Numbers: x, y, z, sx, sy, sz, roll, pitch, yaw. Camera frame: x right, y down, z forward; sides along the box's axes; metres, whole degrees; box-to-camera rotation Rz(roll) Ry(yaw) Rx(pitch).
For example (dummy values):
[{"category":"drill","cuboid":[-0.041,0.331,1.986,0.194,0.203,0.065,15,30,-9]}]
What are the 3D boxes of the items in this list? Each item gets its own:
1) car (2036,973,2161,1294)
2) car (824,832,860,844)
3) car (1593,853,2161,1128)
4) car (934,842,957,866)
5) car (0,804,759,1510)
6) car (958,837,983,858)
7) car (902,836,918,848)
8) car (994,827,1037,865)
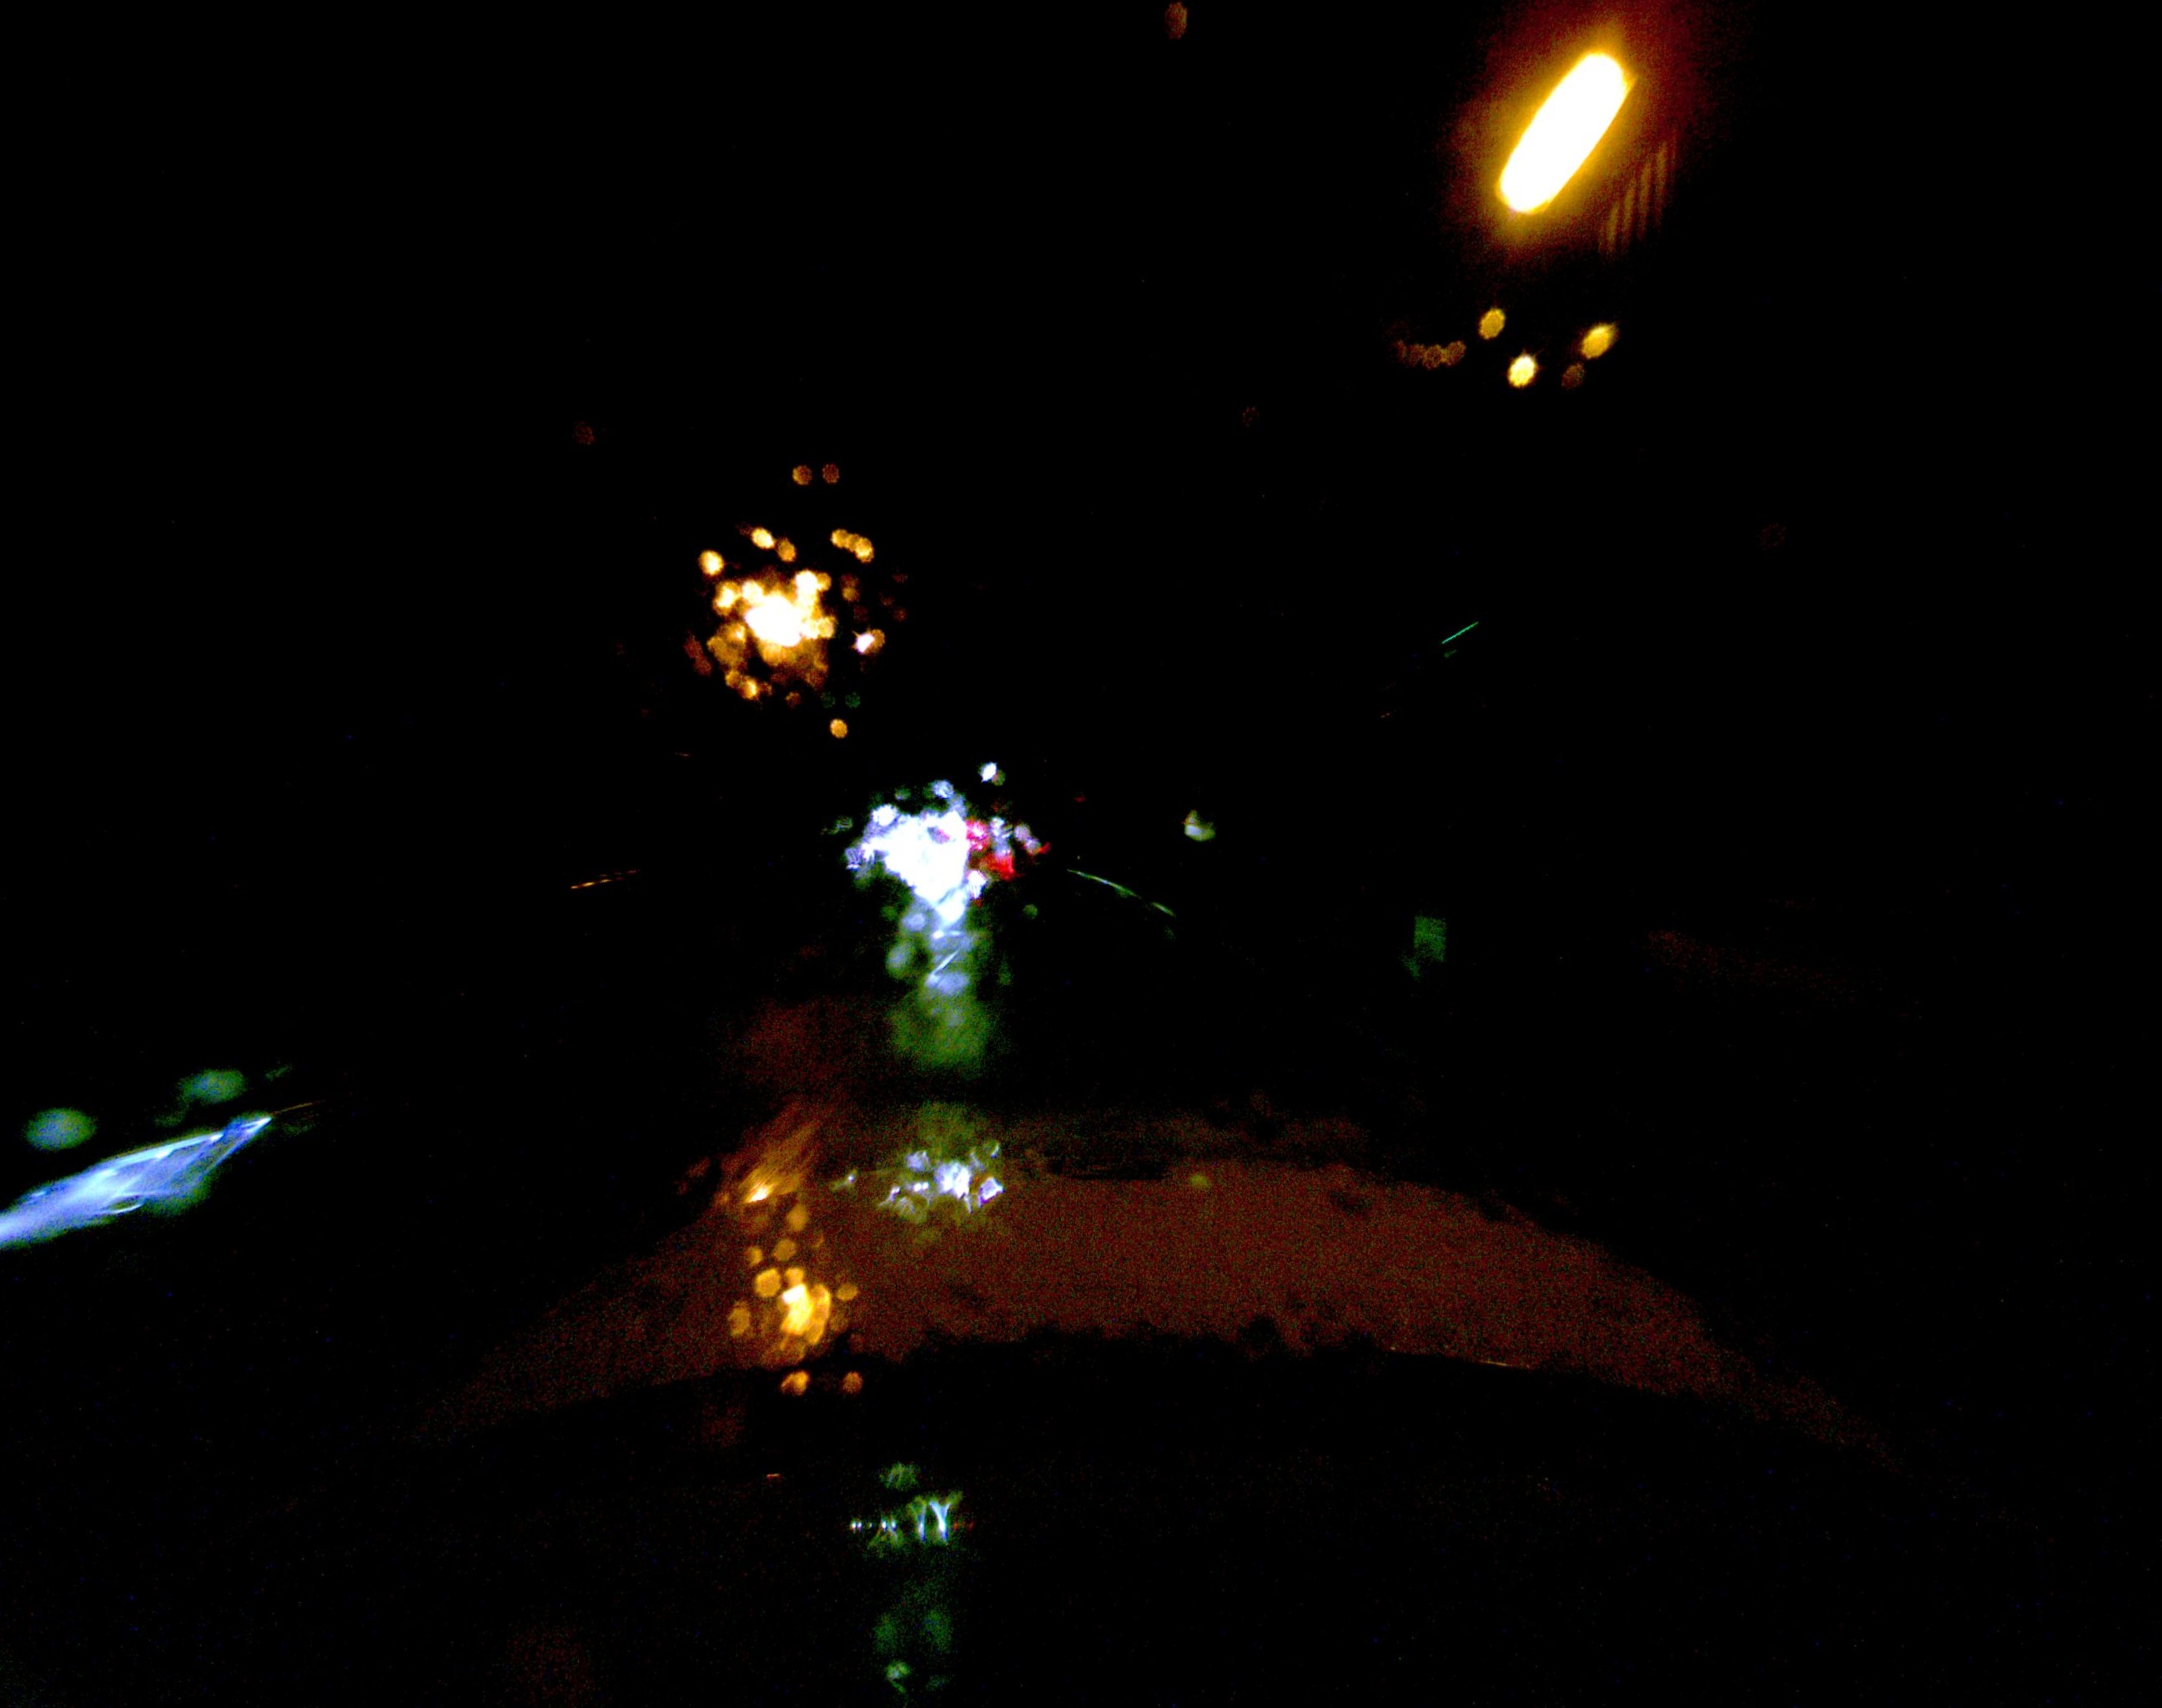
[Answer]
[{"category":"car","cuboid":[5.621,1.349,2.407,1.626,1.398,3.684,0,1,8]},{"category":"car","cuboid":[-35.412,-2.422,120.475,4.931,1.734,1.986,-1,2,-22]},{"category":"car","cuboid":[6.173,0.838,6.944,1.664,1.566,3.811,0,2,8]},{"category":"car","cuboid":[-12.182,0.028,73.213,1.993,2.014,4.828,1,-1,-10]},{"category":"car","cuboid":[-3.134,0.695,3.698,1.630,1.510,4.117,-2,-1,0]},{"category":"car","cuboid":[-11.523,-0.620,85.050,1.998,2.014,3.978,2,-2,-16]},{"category":"car","cuboid":[-22.940,-1.662,109.247,1.640,1.509,4.072,-2,1,-17]},{"category":"car","cuboid":[-4.766,-0.632,58.414,2.539,2.497,5.695,-1,2,-10]}]
